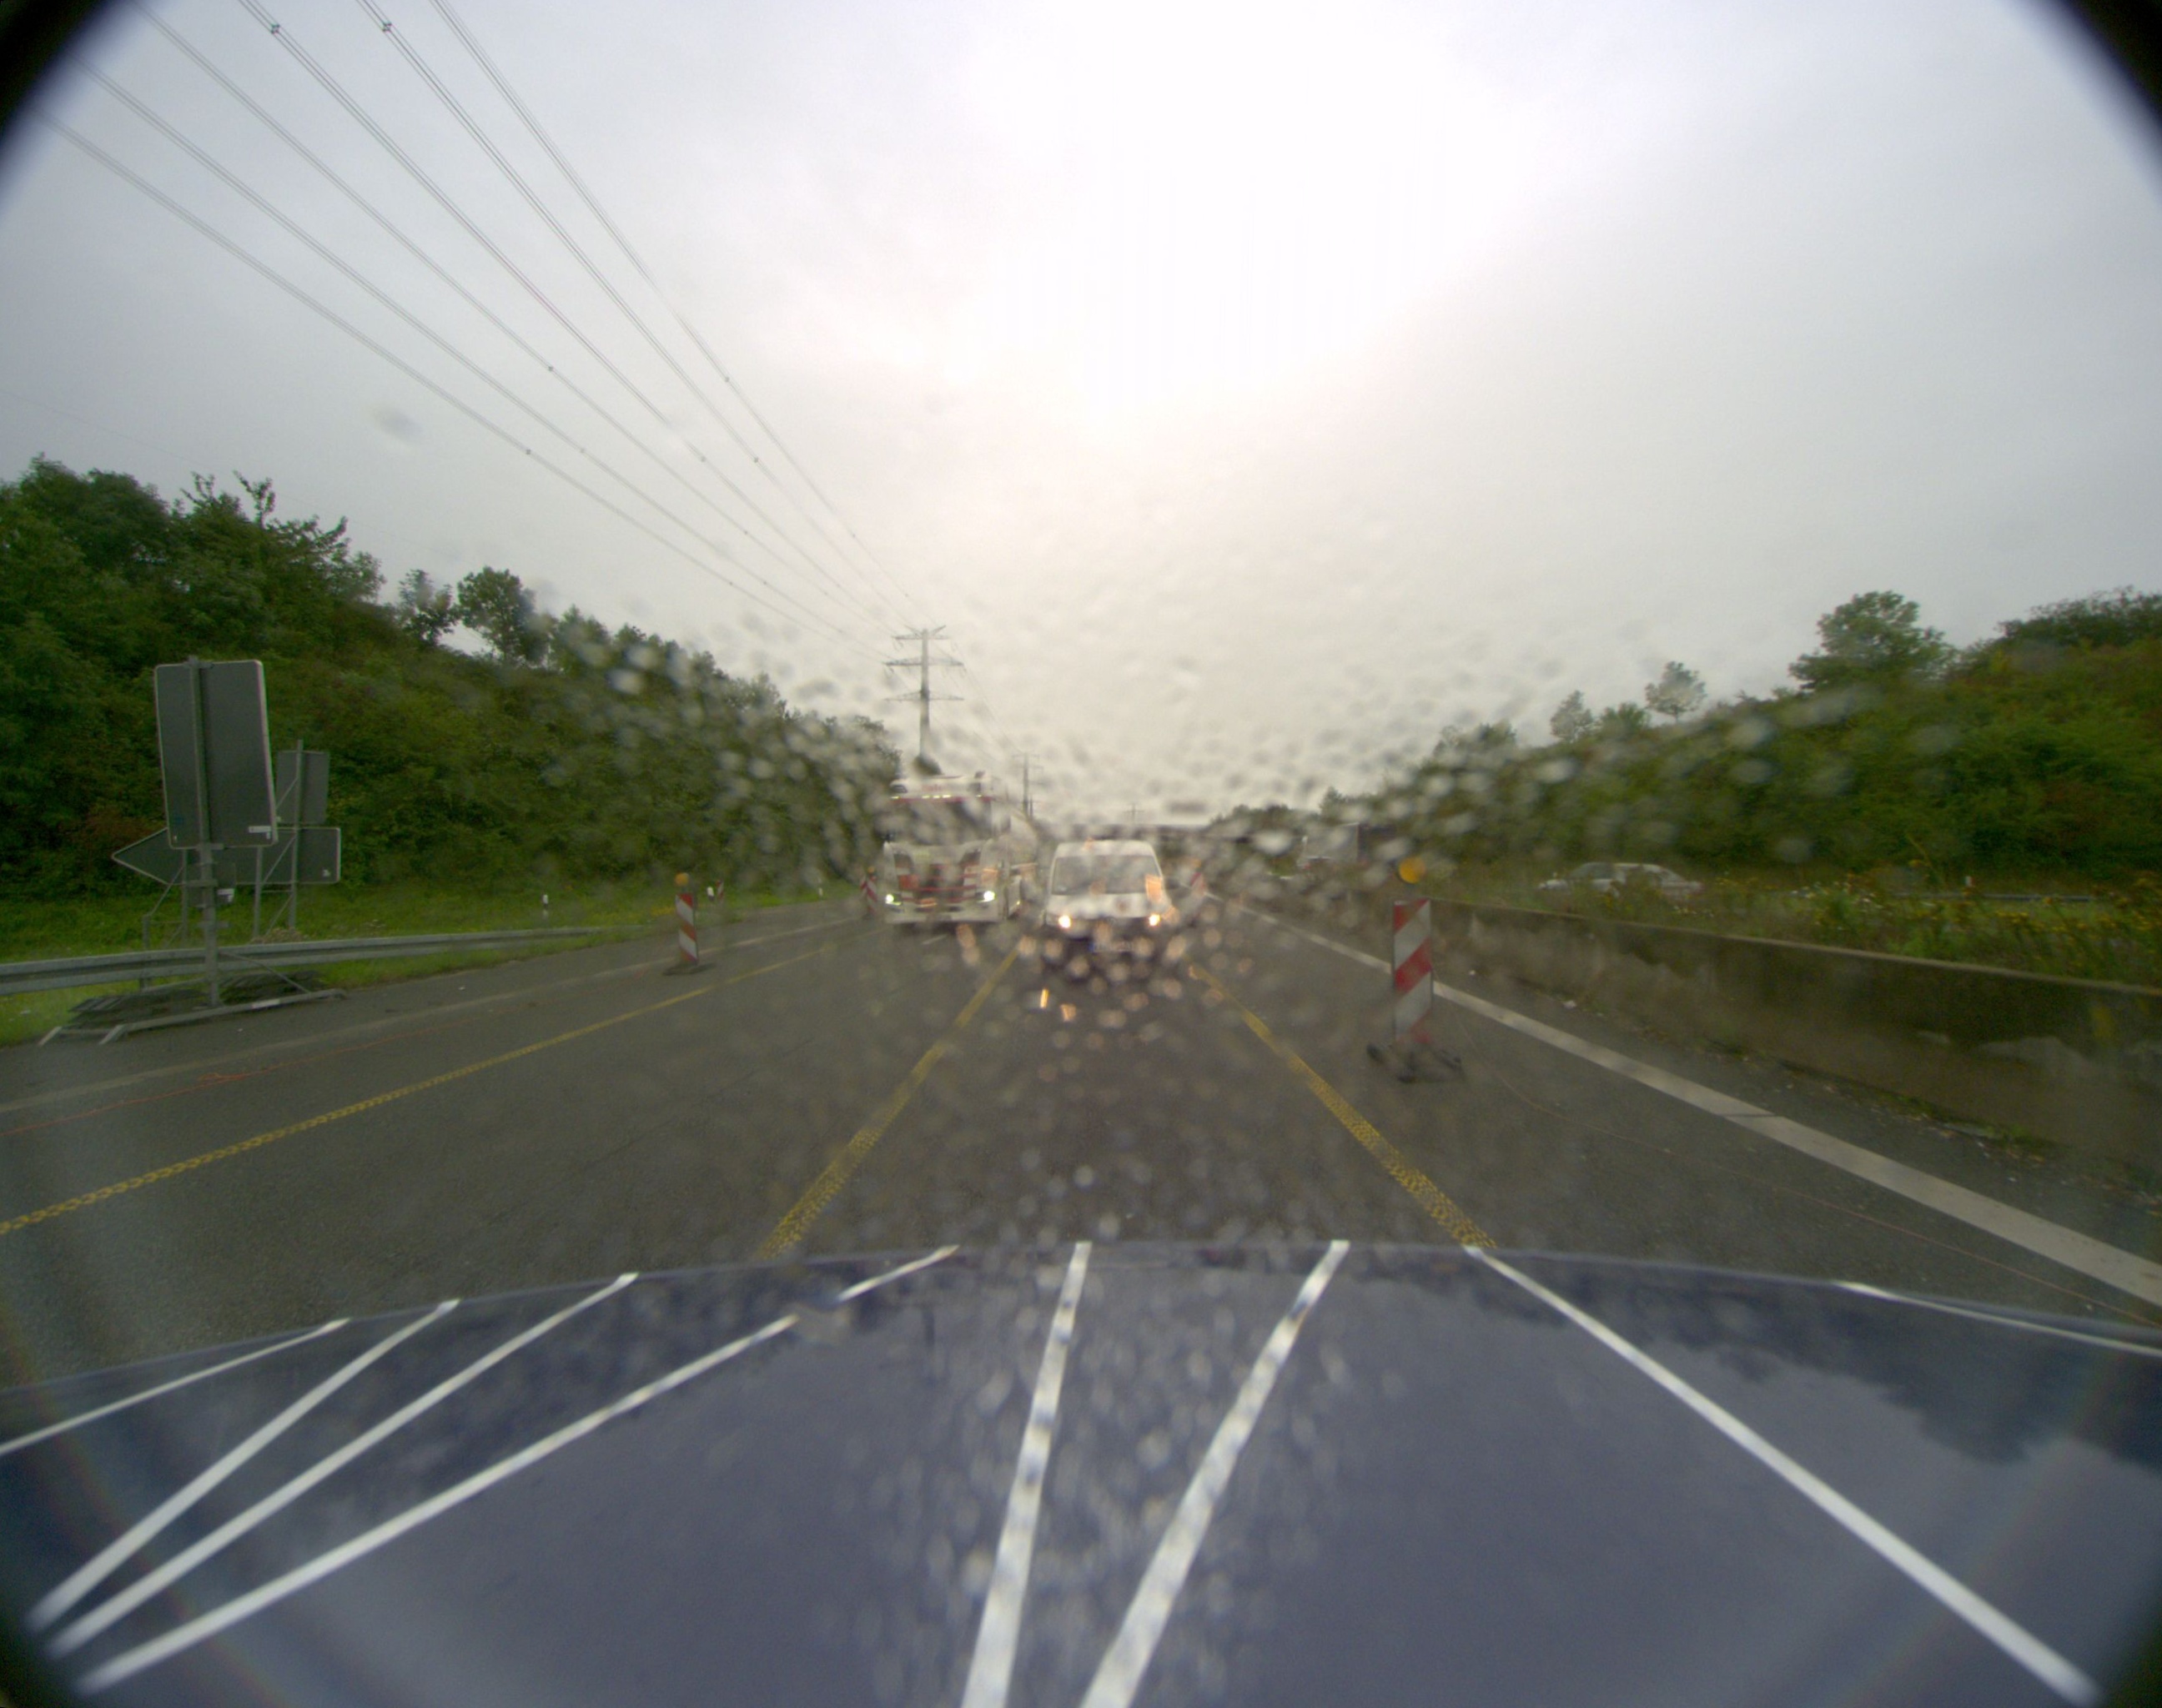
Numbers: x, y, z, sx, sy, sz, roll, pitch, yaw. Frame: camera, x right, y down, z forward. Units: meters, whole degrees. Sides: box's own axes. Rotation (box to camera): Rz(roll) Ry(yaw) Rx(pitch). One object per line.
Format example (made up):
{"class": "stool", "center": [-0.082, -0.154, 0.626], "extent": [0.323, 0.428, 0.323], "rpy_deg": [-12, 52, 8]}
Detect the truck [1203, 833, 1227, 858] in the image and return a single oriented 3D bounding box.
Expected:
{"class": "truck", "center": [24.126, -1.595, 137.329], "extent": [2.682, 4.220, 12.518], "rpy_deg": [-2, 1, 3]}

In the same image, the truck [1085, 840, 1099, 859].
{"class": "truck", "center": [2.225, -0.973, 158.534], "extent": [2.553, 3.924, 4.000], "rpy_deg": [-2, 1, 4]}

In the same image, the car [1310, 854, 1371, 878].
{"class": "car", "center": [12.384, 0.565, 36.463], "extent": [1.682, 1.068, 3.752], "rpy_deg": [0, 0, 1]}

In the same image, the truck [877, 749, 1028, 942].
{"class": "truck", "center": [-2.781, -0.166, 17.681], "extent": [2.651, 3.868, 4.030], "rpy_deg": [-2, 0, 0]}

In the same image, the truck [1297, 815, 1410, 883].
{"class": "truck", "center": [20.689, -0.429, 59.490], "extent": [3.414, 4.498, 17.288], "rpy_deg": [-1, 1, 3]}

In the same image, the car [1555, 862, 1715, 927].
{"class": "car", "center": [14.332, 0.979, 19.939], "extent": [1.682, 1.518, 3.753], "rpy_deg": [0, 0, 4]}

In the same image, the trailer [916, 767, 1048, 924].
{"class": "trailer", "center": [-2.730, -0.275, 24.495], "extent": [2.644, 3.871, 10.542], "rpy_deg": [-2, 1, 0]}

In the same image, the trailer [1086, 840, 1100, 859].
{"class": "trailer", "center": [2.678, -1.049, 165.002], "extent": [2.525, 3.812, 12.352], "rpy_deg": [-2, 1, 3]}

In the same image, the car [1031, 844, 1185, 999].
{"class": "car", "center": [0.331, 0.806, 11.369], "extent": [1.770, 1.774, 4.647], "rpy_deg": [-2, 0, 0]}
